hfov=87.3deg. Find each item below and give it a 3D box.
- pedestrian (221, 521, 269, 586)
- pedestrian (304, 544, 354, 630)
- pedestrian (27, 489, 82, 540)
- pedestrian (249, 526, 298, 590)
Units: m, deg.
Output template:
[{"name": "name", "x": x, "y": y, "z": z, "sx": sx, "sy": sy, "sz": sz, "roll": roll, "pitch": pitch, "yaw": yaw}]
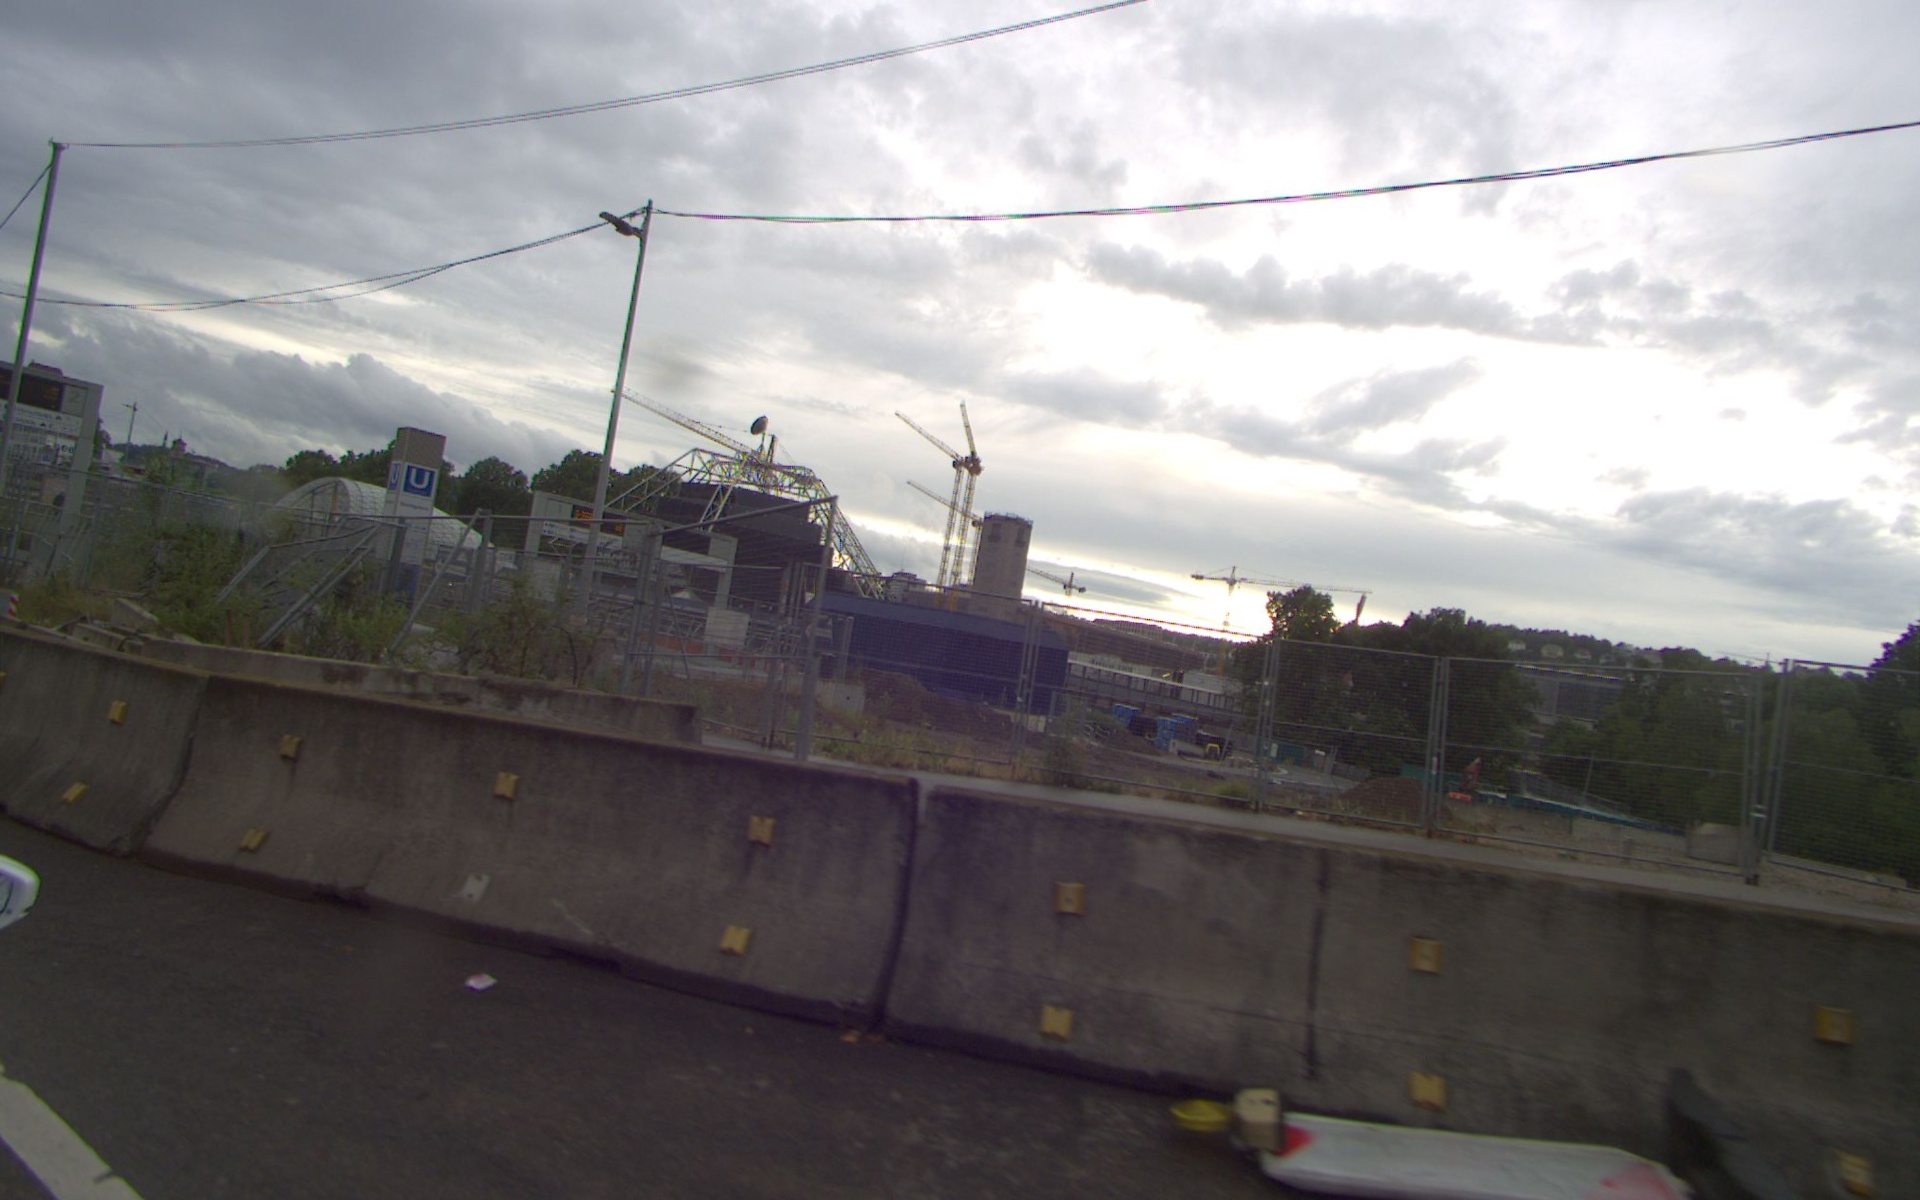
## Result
[{"name": "pedestrian", "x": -21.657, "y": -1.422, "z": 30.484, "sx": 1.007, "sy": 1.798, "sz": 0.690, "roll": 8, "pitch": -2, "yaw": 36}, {"name": "pedestrian", "x": -14.048, "y": -0.304, "z": 22.413, "sx": 0.685, "sy": 1.798, "sz": 0.809, "roll": 9, "pitch": -1, "yaw": -31}, {"name": "pedestrian", "x": -34.266, "y": -3.212, "z": 38.075, "sx": 0.882, "sy": 1.677, "sz": 1.024, "roll": 8, "pitch": -1, "yaw": 11}, {"name": "pedestrian", "x": -21.166, "y": -1.304, "z": 31.019, "sx": 1.007, "sy": 1.798, "sz": 0.727, "roll": 8, "pitch": -2, "yaw": 36}]
